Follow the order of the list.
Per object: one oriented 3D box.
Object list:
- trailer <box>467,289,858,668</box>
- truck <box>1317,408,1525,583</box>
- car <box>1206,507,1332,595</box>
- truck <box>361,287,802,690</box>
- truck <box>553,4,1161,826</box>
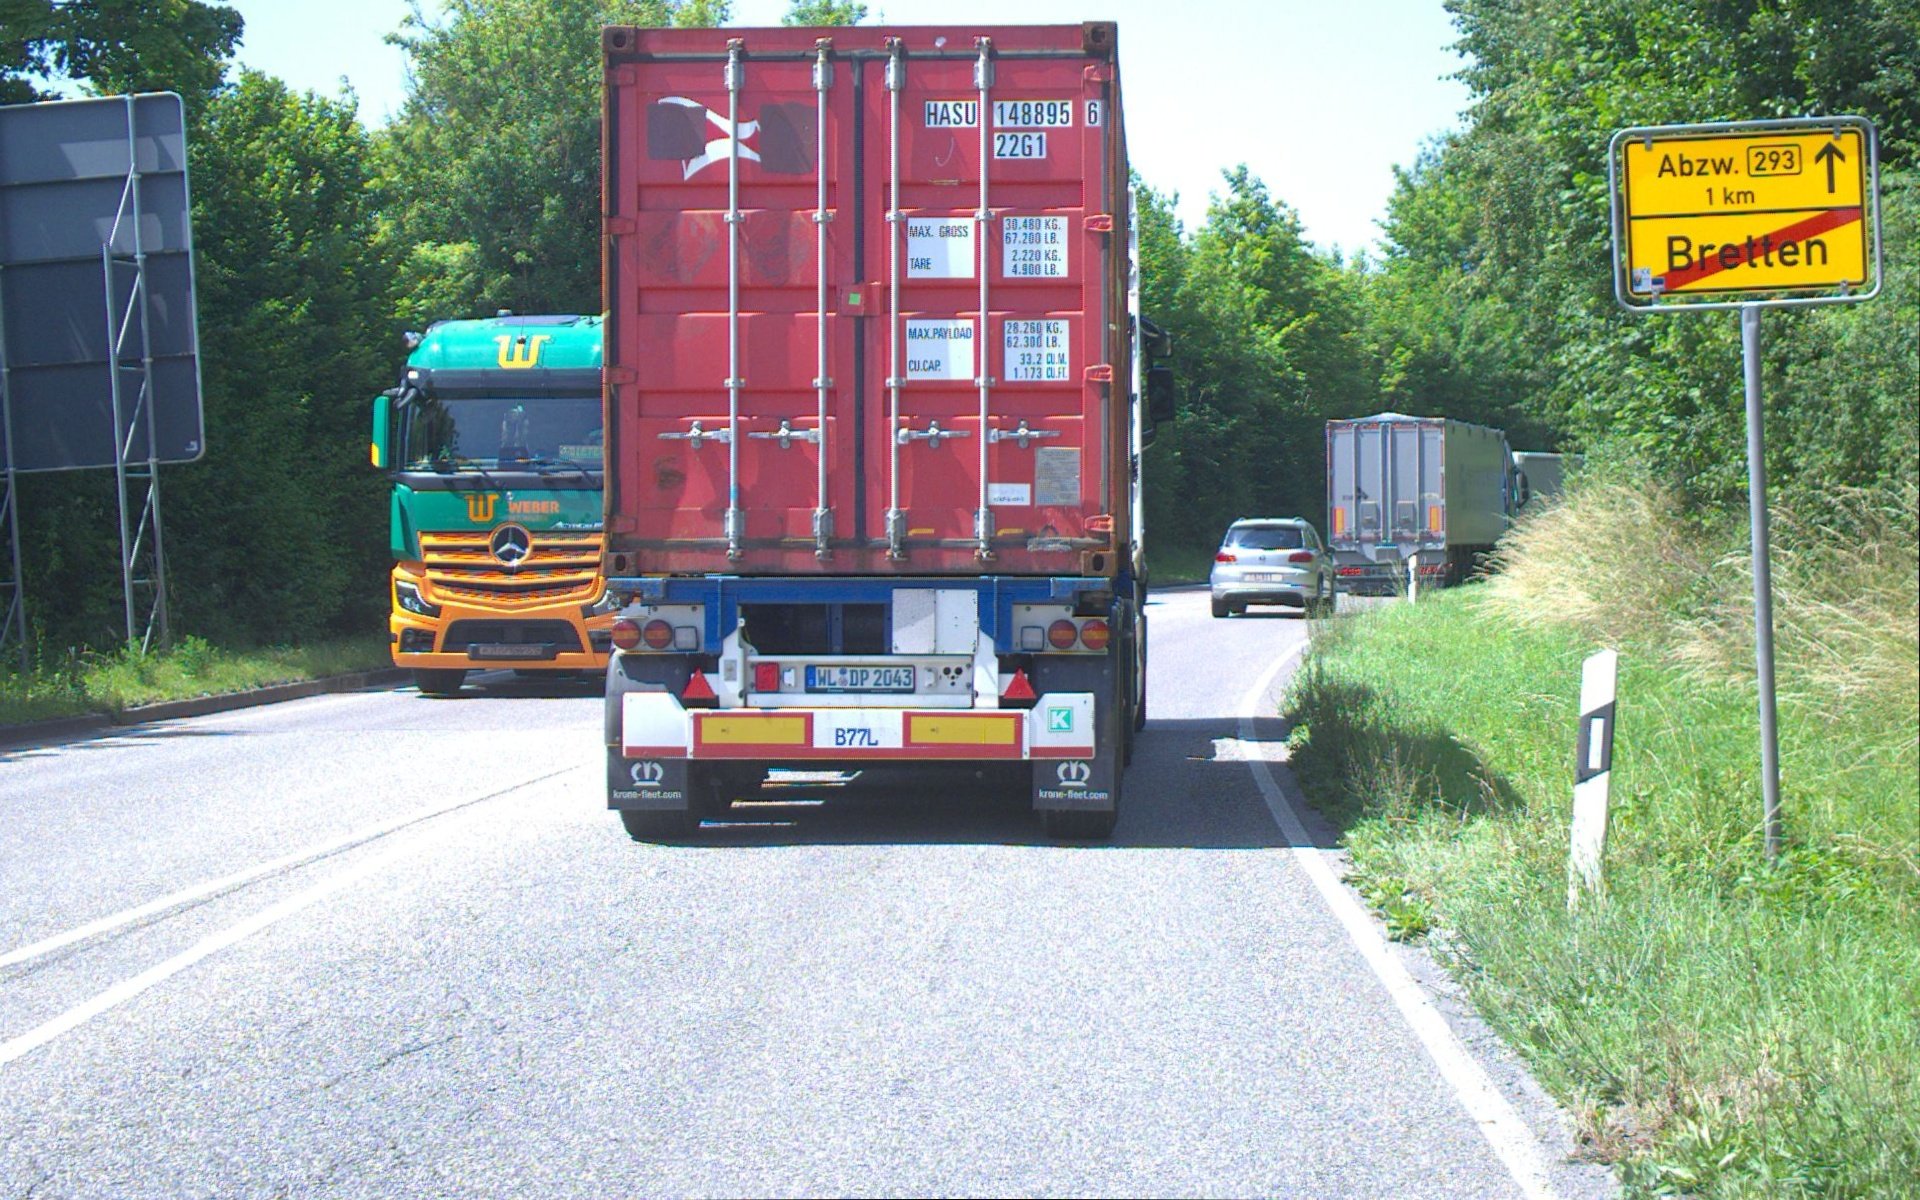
[{"bbox_3d":[-3.145,-1.327,39.189,2.578,3.806,8.913,0,1,7],"label":"trailer"},{"bbox_3d":[10.929,-2.387,80.072,2.924,3.704,13.350,1,1,16],"label":"truck"},{"bbox_3d":[5.306,-0.857,58.698,1.833,1.428,3.999,-1,1,9],"label":"car"},{"bbox_3d":[-3.659,-1.104,35.400,2.579,3.667,7.873,0,1,8],"label":"truck"},{"bbox_3d":[-0.098,-0.969,22.629,2.648,3.793,13.358,0,1,4],"label":"truck"}]
